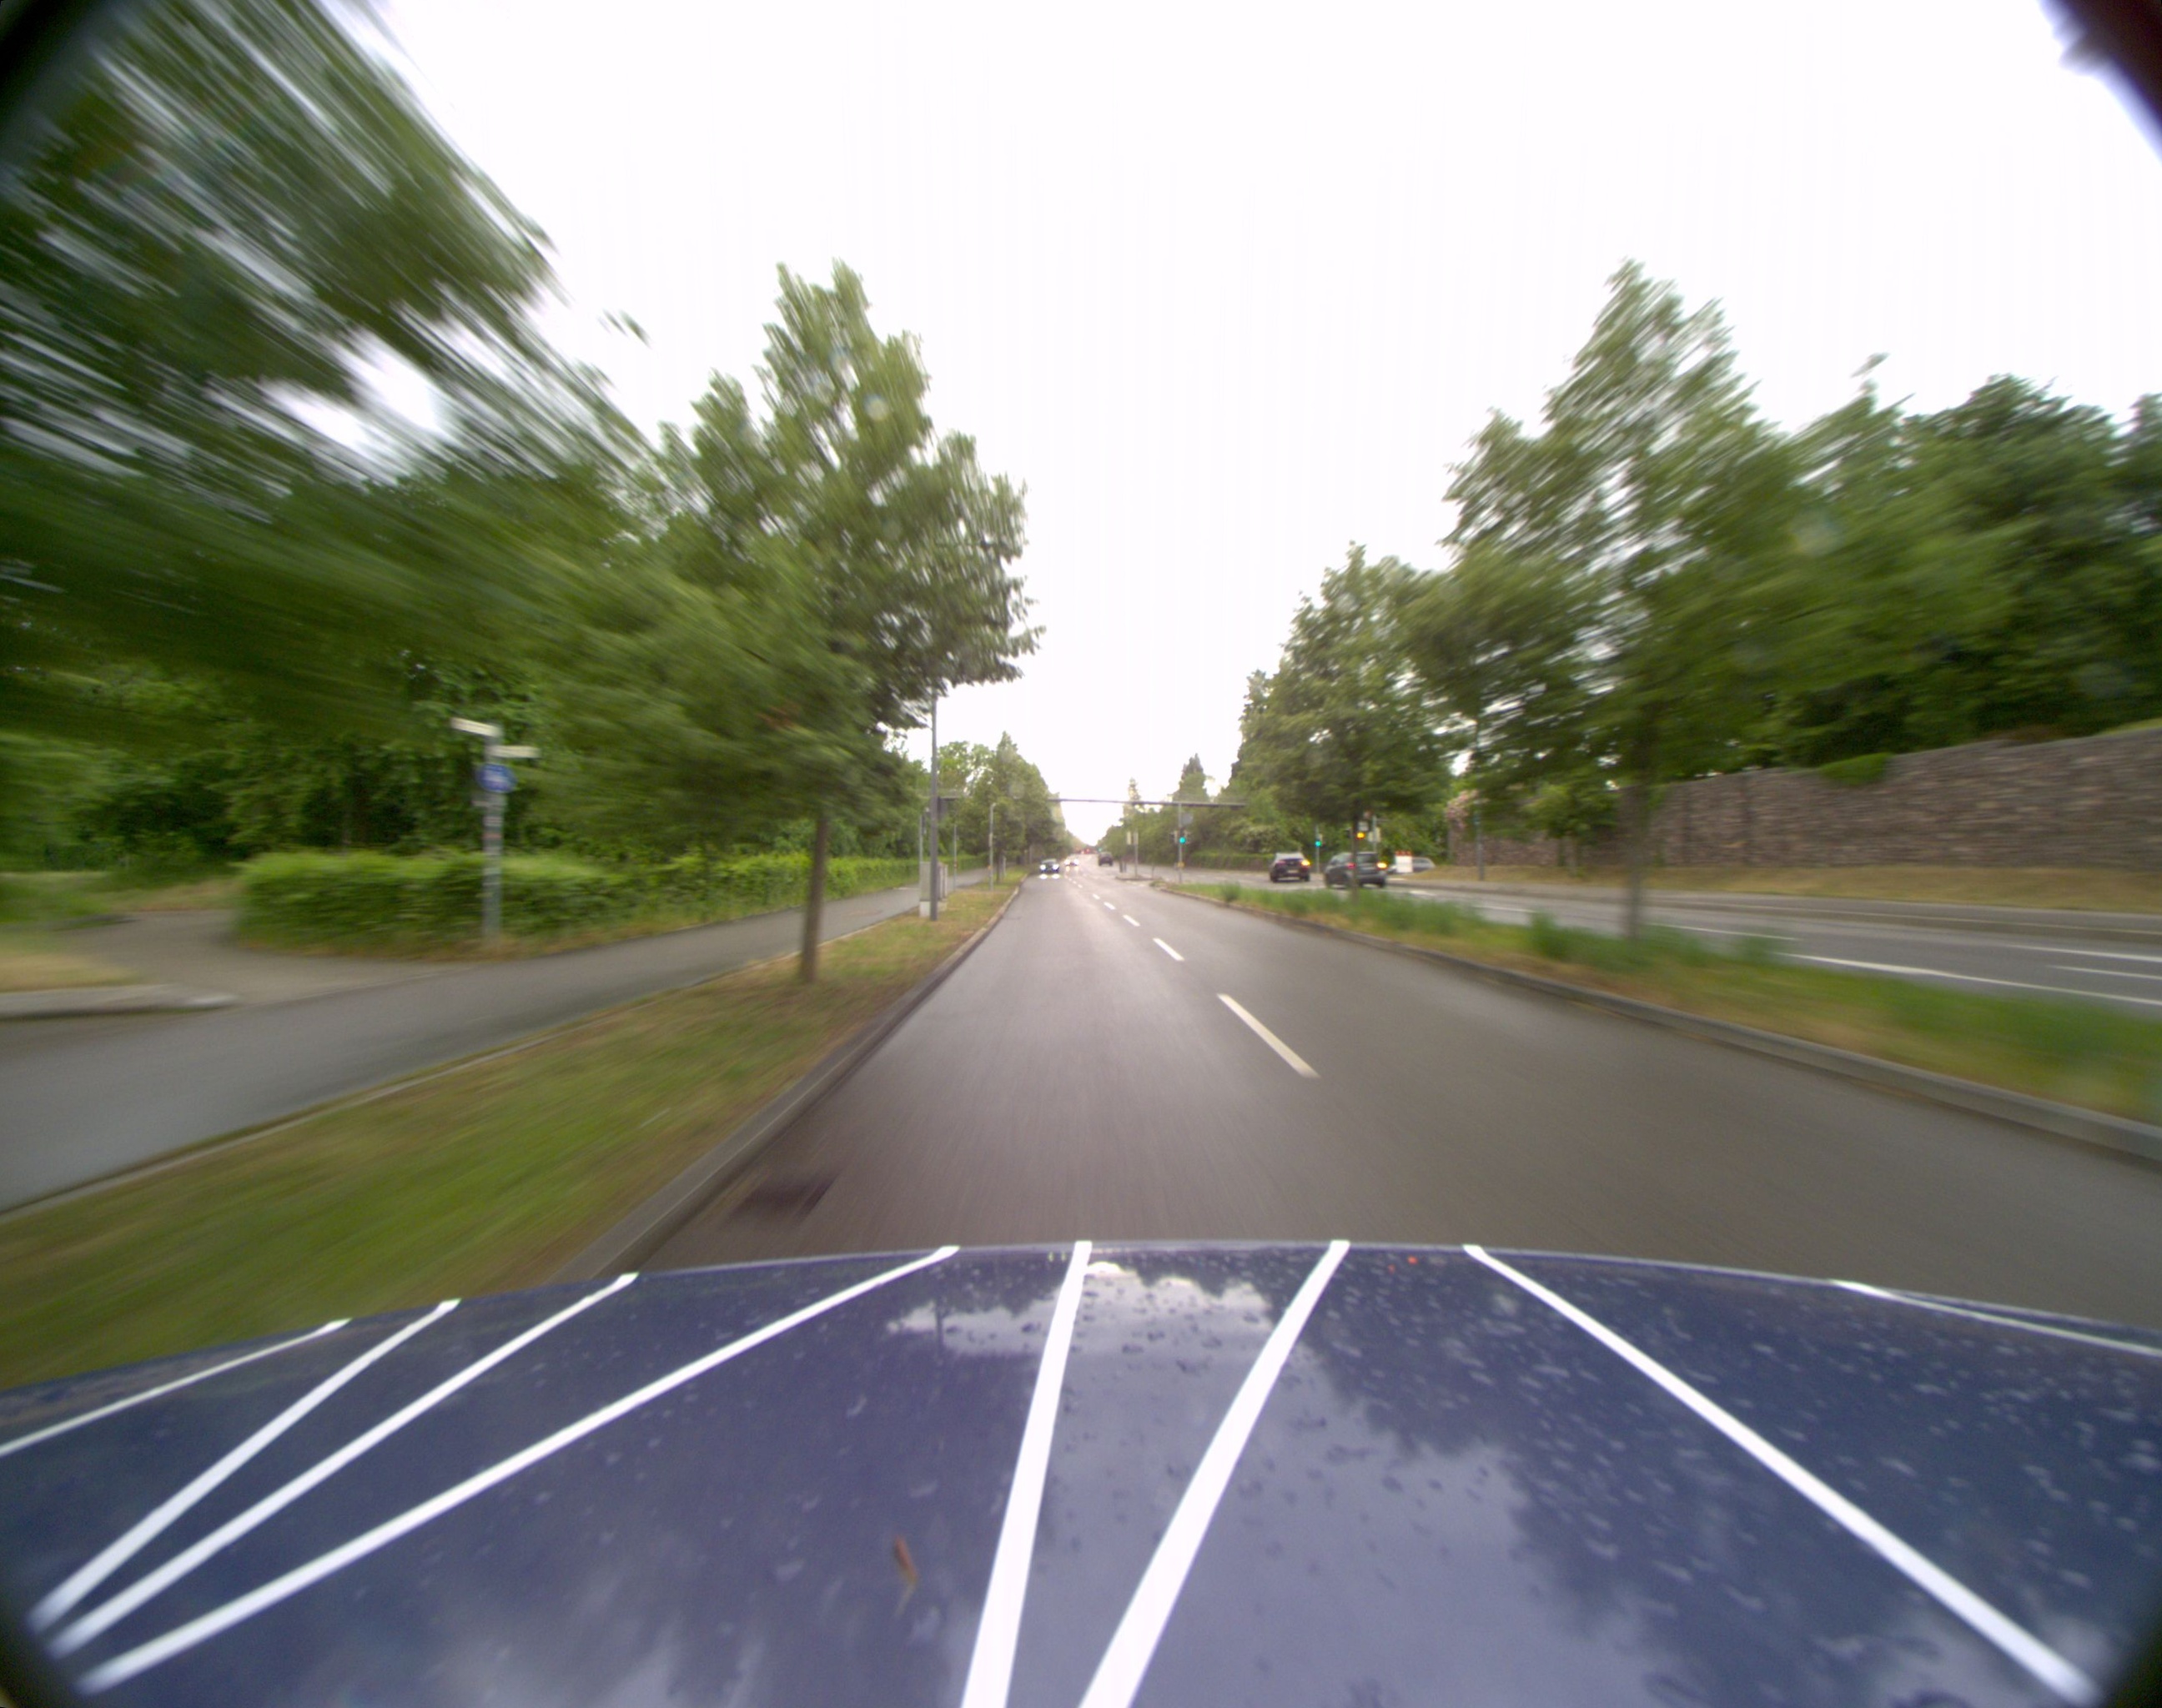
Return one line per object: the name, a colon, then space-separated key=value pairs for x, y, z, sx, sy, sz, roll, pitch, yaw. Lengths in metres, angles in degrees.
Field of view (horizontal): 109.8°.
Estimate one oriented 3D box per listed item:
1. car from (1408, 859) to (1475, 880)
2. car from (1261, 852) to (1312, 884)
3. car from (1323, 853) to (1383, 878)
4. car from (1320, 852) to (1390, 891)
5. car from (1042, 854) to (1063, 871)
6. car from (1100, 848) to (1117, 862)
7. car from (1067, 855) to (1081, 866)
car: x=25.873 y=1.105 z=54.645 sx=3.996 sy=1.464 sz=1.693 roll=0 pitch=-2 yaw=3
car: x=11.247 y=0.700 z=41.905 sx=1.885 sy=1.586 sz=4.768 roll=-2 pitch=0 yaw=5
car: x=17.749 y=0.729 z=49.515 sx=4.007 sy=1.481 sz=1.599 roll=-1 pitch=0 yaw=-35
car: x=11.505 y=0.734 z=32.075 sx=1.691 sy=1.530 sz=2.915 roll=-1 pitch=-1 yaw=-5
car: x=-2.746 y=0.805 z=73.707 sx=1.824 sy=1.547 sz=3.999 roll=-1 pitch=1 yaw=0
car: x=4.023 y=0.154 z=112.506 sx=2.019 sy=1.908 sz=5.094 roll=-1 pitch=0 yaw=-2
car: x=-1.059 y=0.941 z=114.933 sx=1.825 sy=1.547 sz=3.998 roll=-1 pitch=1 yaw=-3
